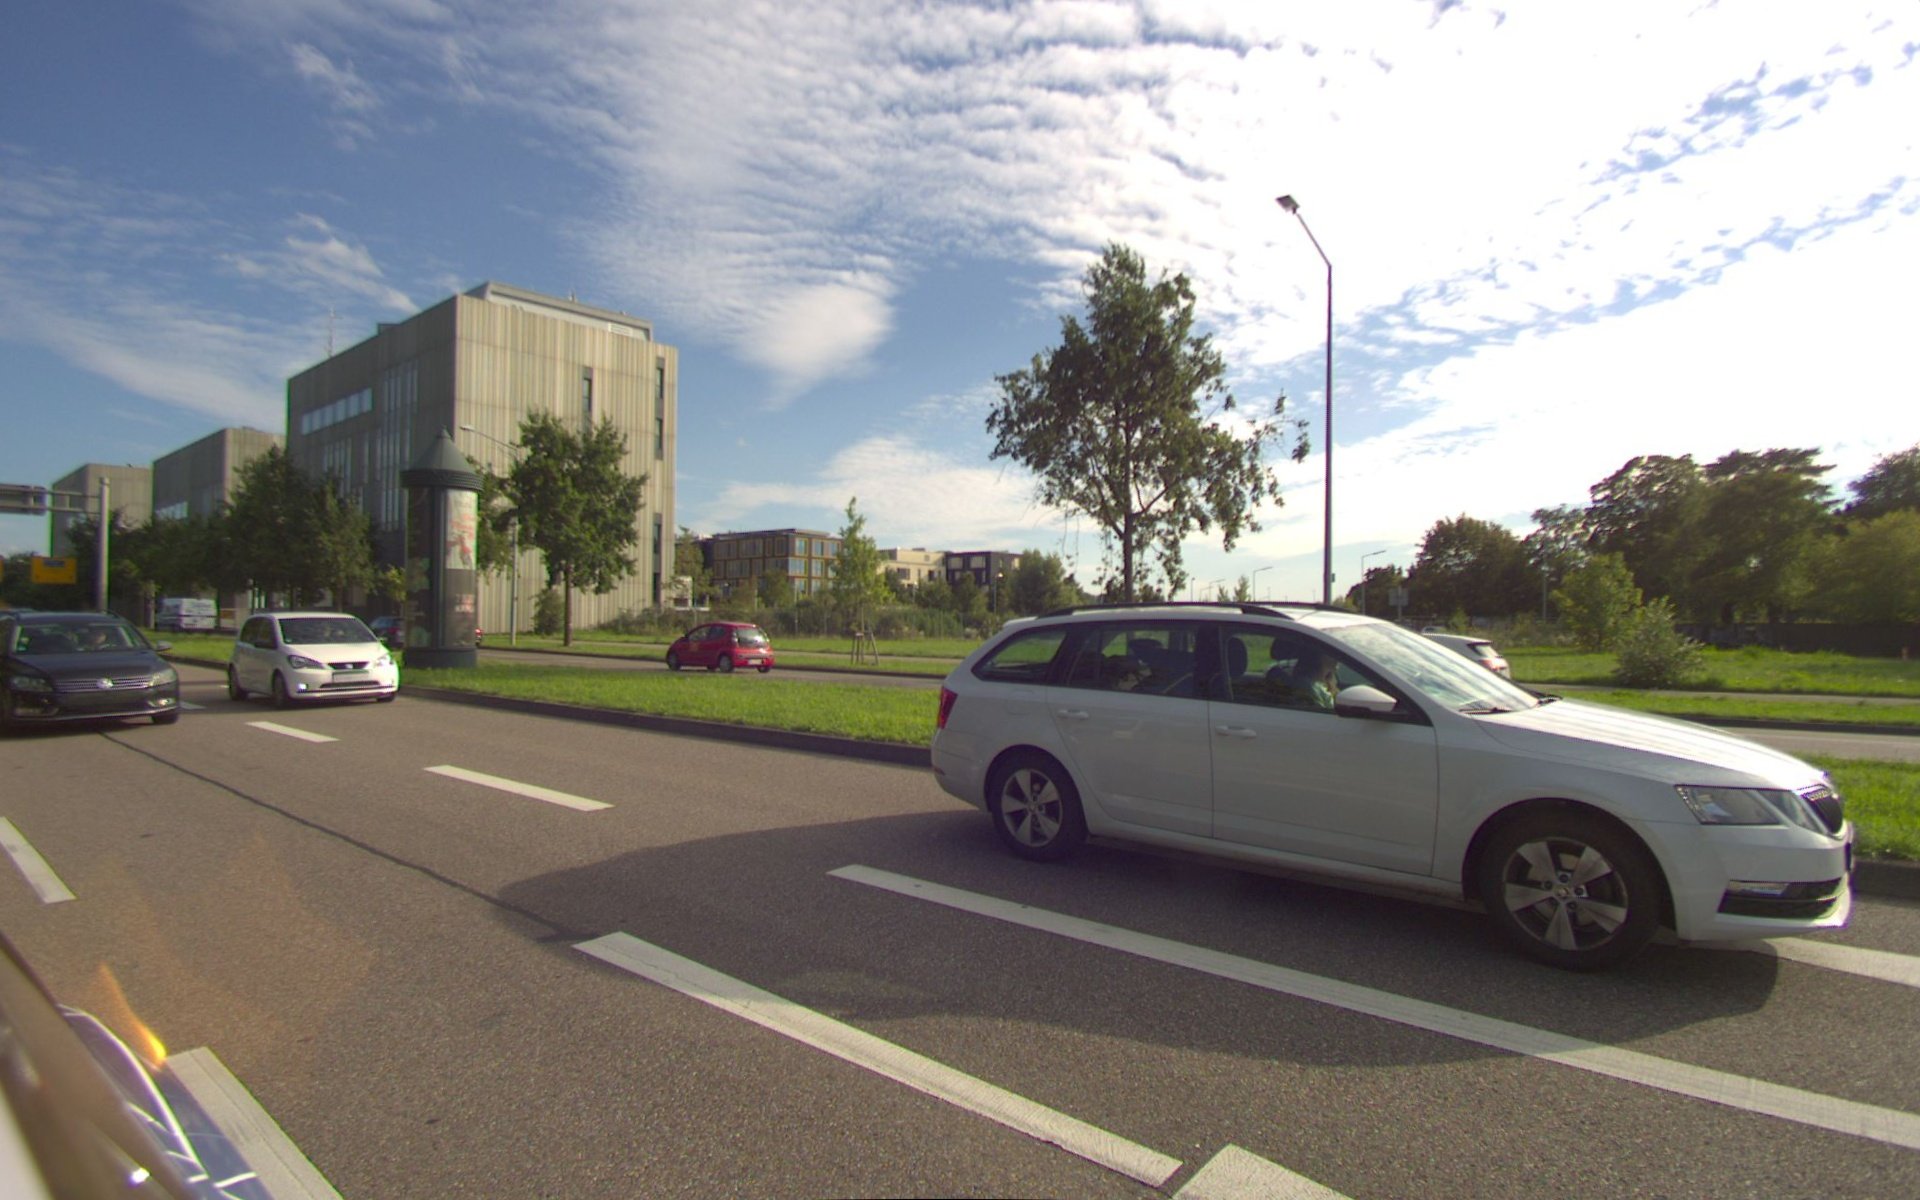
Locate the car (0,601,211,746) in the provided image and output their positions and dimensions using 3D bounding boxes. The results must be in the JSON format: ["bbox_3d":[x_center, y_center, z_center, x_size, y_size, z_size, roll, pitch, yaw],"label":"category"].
[{"bbox_3d":[-11.895,0.850,13.554,4.841,1.578,1.973,-1,0,41],"label":"car"}]

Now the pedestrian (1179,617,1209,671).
[{"bbox_3d":[7.231,1.346,31.293,0.658,1.642,0.620,-2,-1,43],"label":"pedestrian"}]

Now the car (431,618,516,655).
[{"bbox_3d":[-21.977,1.632,45.638,4.452,1.584,1.831,-1,-4,41],"label":"car"}]

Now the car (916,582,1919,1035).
[{"bbox_3d":[2.057,0.702,5.416,4.637,1.456,1.831,-1,-1,42],"label":"car"}]

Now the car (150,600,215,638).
[{"bbox_3d":[-48.892,1.223,63.612,5.537,2.272,2.006,-1,-4,40],"label":"car"}]

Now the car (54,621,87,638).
[{"bbox_3d":[-84.401,2.772,95.997,4.452,1.475,1.831,-1,-1,41],"label":"car"}]

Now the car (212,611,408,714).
[{"bbox_3d":[-10.644,0.931,16.493,3.658,1.475,1.743,-1,-1,41],"label":"car"}]

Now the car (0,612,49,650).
[{"bbox_3d":[-38.331,1.231,40.832,4.444,1.431,1.800,-1,-1,41],"label":"car"}]

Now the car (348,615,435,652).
[{"bbox_3d":[-23.487,1.362,41.764,4.066,1.445,1.831,-1,-3,41],"label":"car"}]

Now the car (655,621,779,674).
[{"bbox_3d":[-7.134,1.350,29.596,3.585,1.445,1.664,-1,-2,38],"label":"car"}]

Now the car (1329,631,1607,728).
[{"bbox_3d":[8.600,1.265,17.314,3.990,1.445,1.663,-1,-2,40],"label":"car"}]
